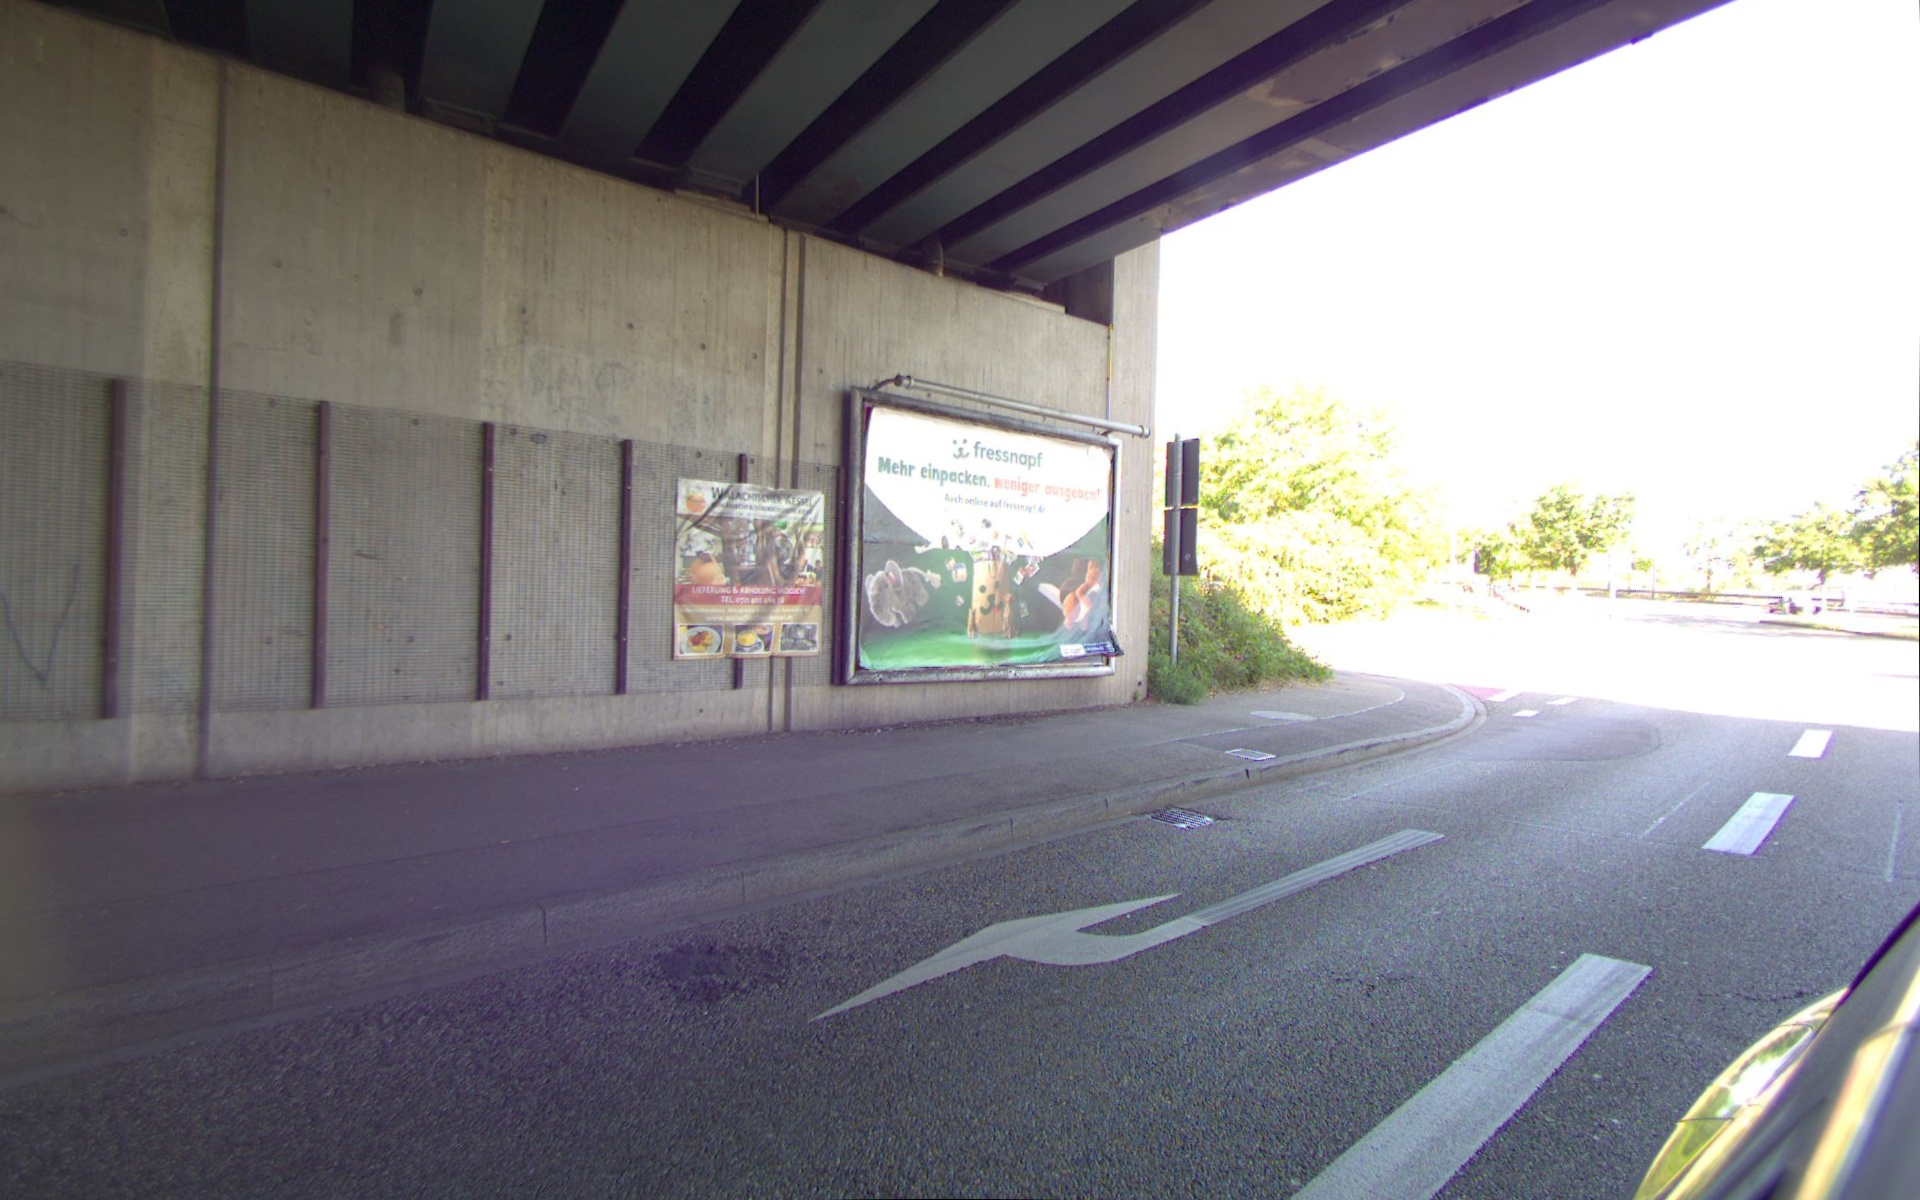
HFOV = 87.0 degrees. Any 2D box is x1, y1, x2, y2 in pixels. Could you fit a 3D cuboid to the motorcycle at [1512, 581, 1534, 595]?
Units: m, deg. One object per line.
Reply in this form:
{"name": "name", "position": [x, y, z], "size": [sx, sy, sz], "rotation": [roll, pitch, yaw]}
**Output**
{"name": "motorcycle", "position": [65.401, -1.380, 117.527], "size": [1.090, 1.681, 3.149], "rotation": [0, 0, 7]}

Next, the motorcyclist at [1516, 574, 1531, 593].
{"name": "motorcyclist", "position": [65.402, -1.913, 117.407], "size": [1.090, 2.269, 1.180], "rotation": [0, 0, 7]}

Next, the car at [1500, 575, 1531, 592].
{"name": "car", "position": [53.596, -1.578, 97.689], "size": [1.715, 1.438, 4.295], "rotation": [2, 0, 16]}

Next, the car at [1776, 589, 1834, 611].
{"name": "car", "position": [56.826, -0.045, 68.133], "size": [1.728, 1.297, 4.151], "rotation": [4, 2, 23]}

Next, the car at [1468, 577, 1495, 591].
{"name": "car", "position": [60.753, -1.809, 117.851], "size": [1.712, 1.438, 4.301], "rotation": [2, 0, 13]}
